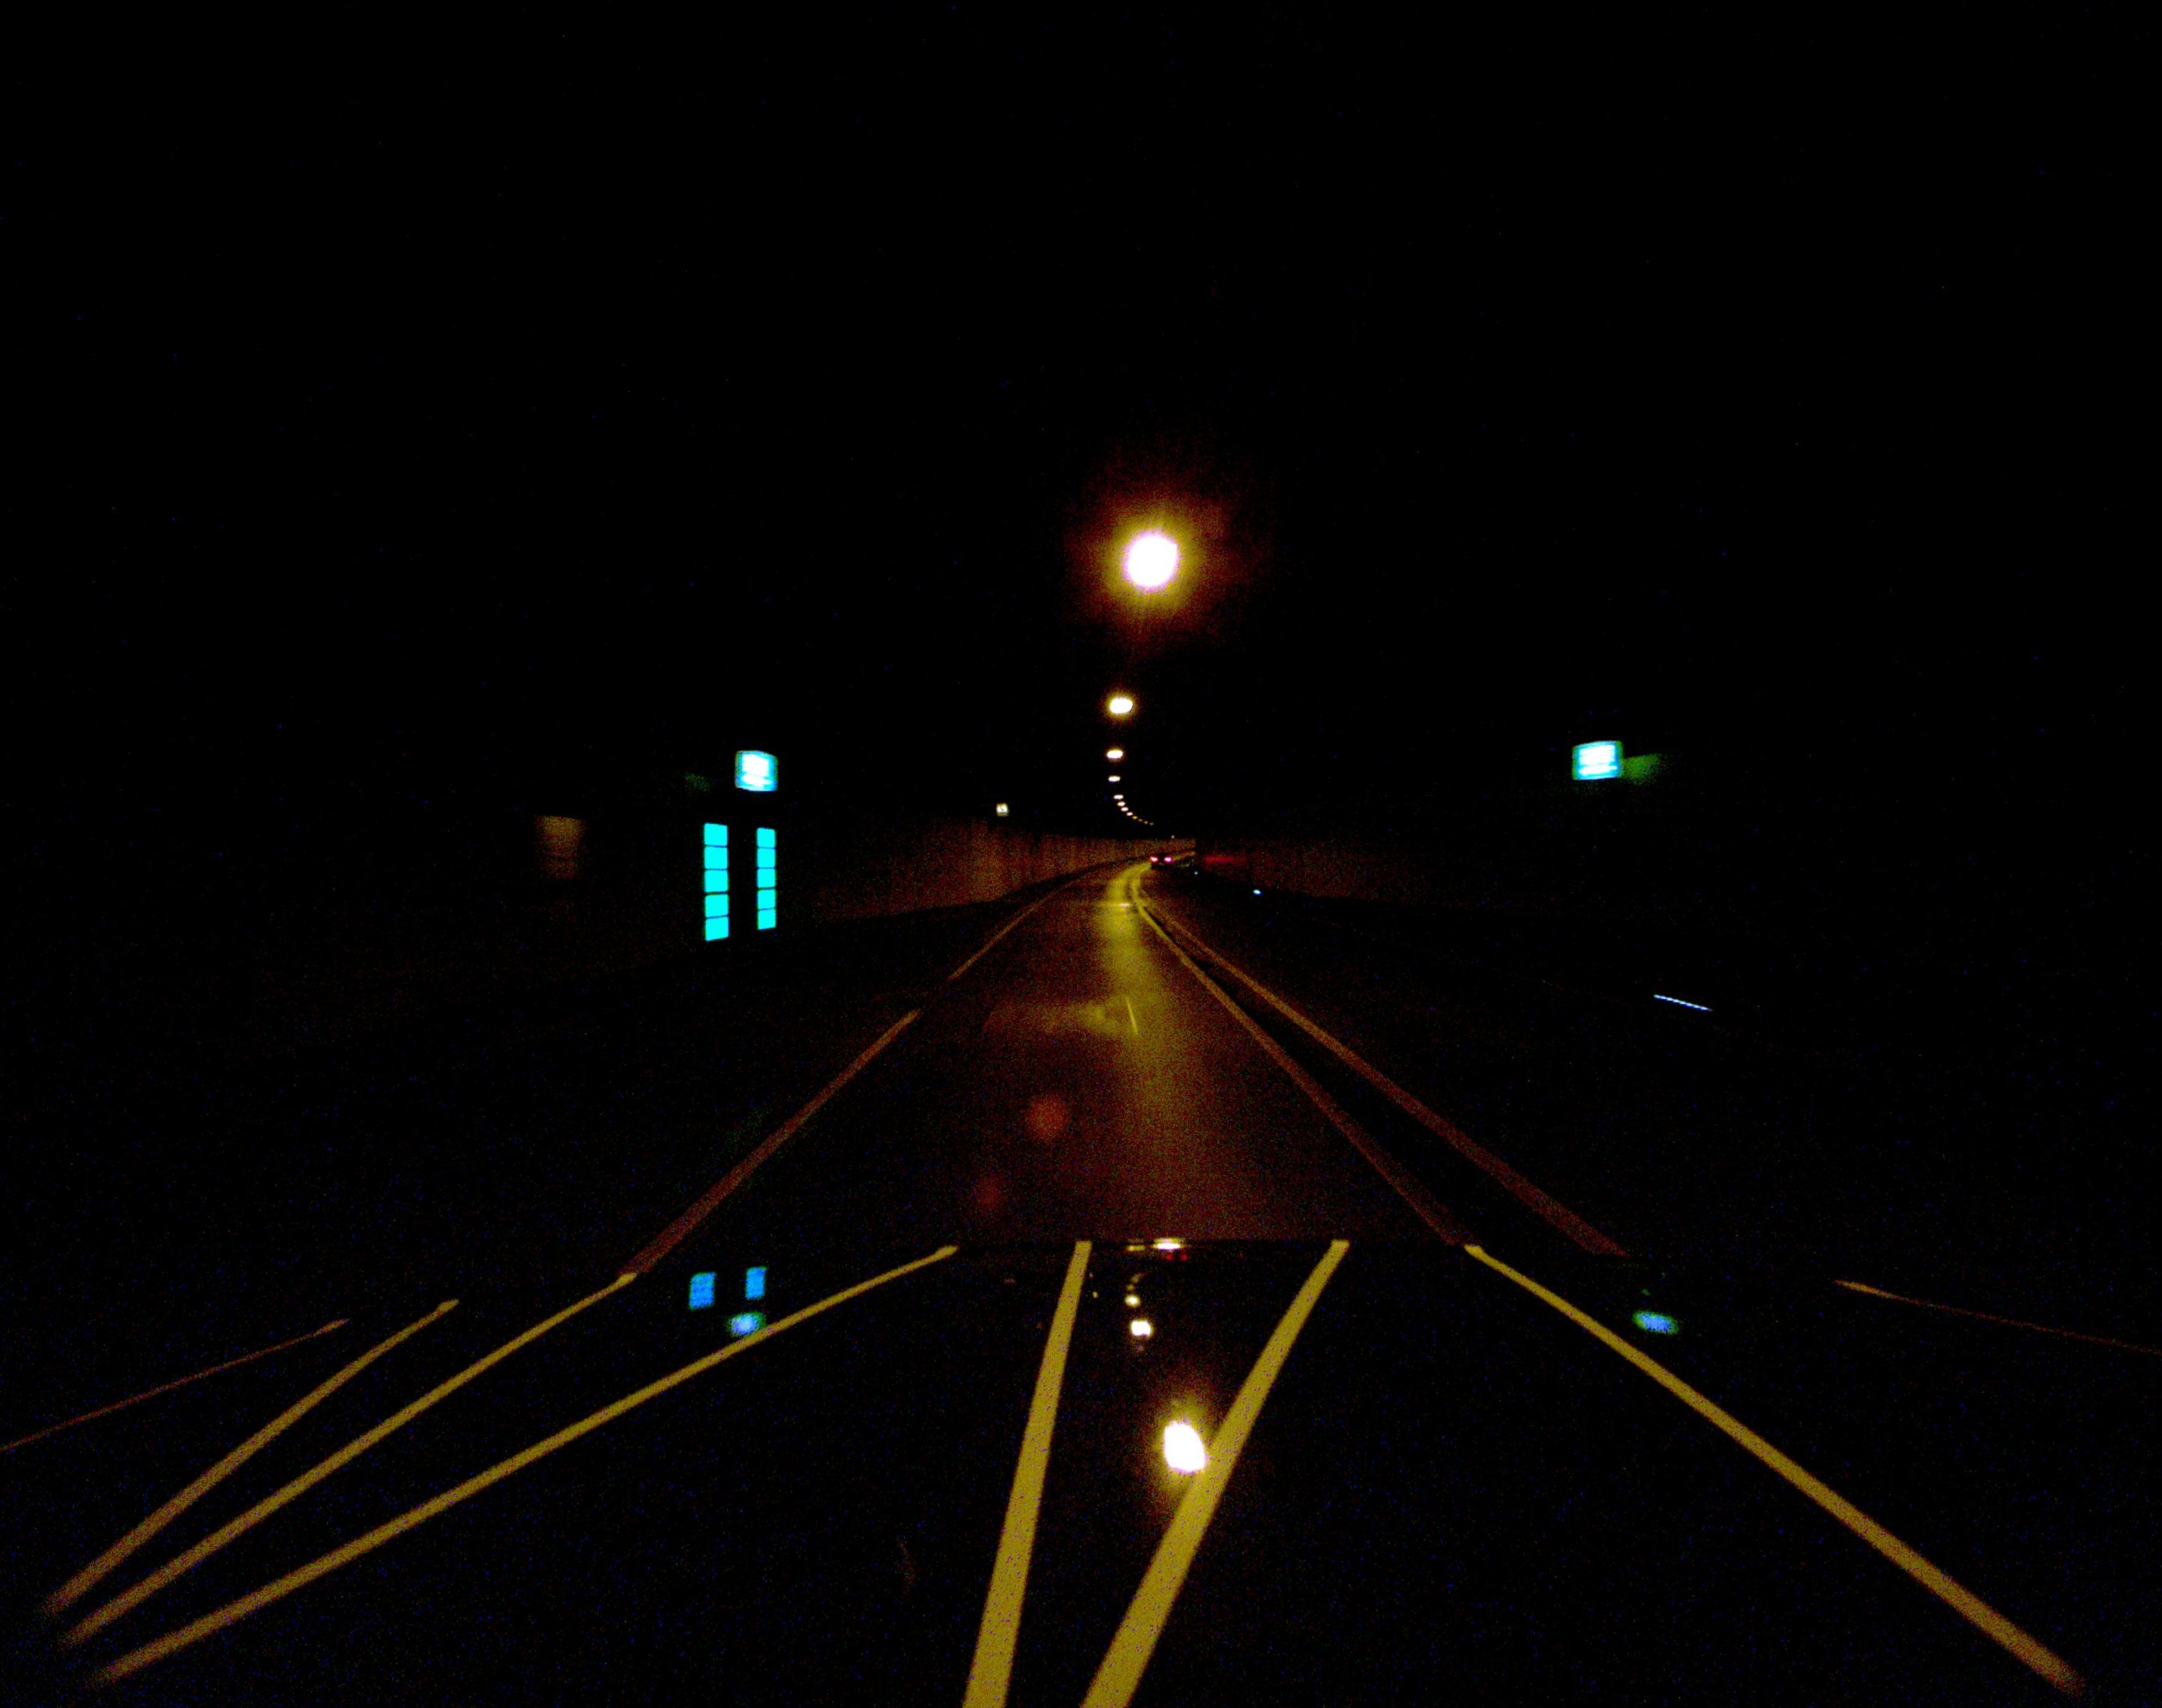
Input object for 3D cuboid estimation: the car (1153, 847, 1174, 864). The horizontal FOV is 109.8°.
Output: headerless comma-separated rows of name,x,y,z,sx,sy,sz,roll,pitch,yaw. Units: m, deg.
car,7.365,0.130,67.358,1.710,1.408,4.119,-1,0,8
